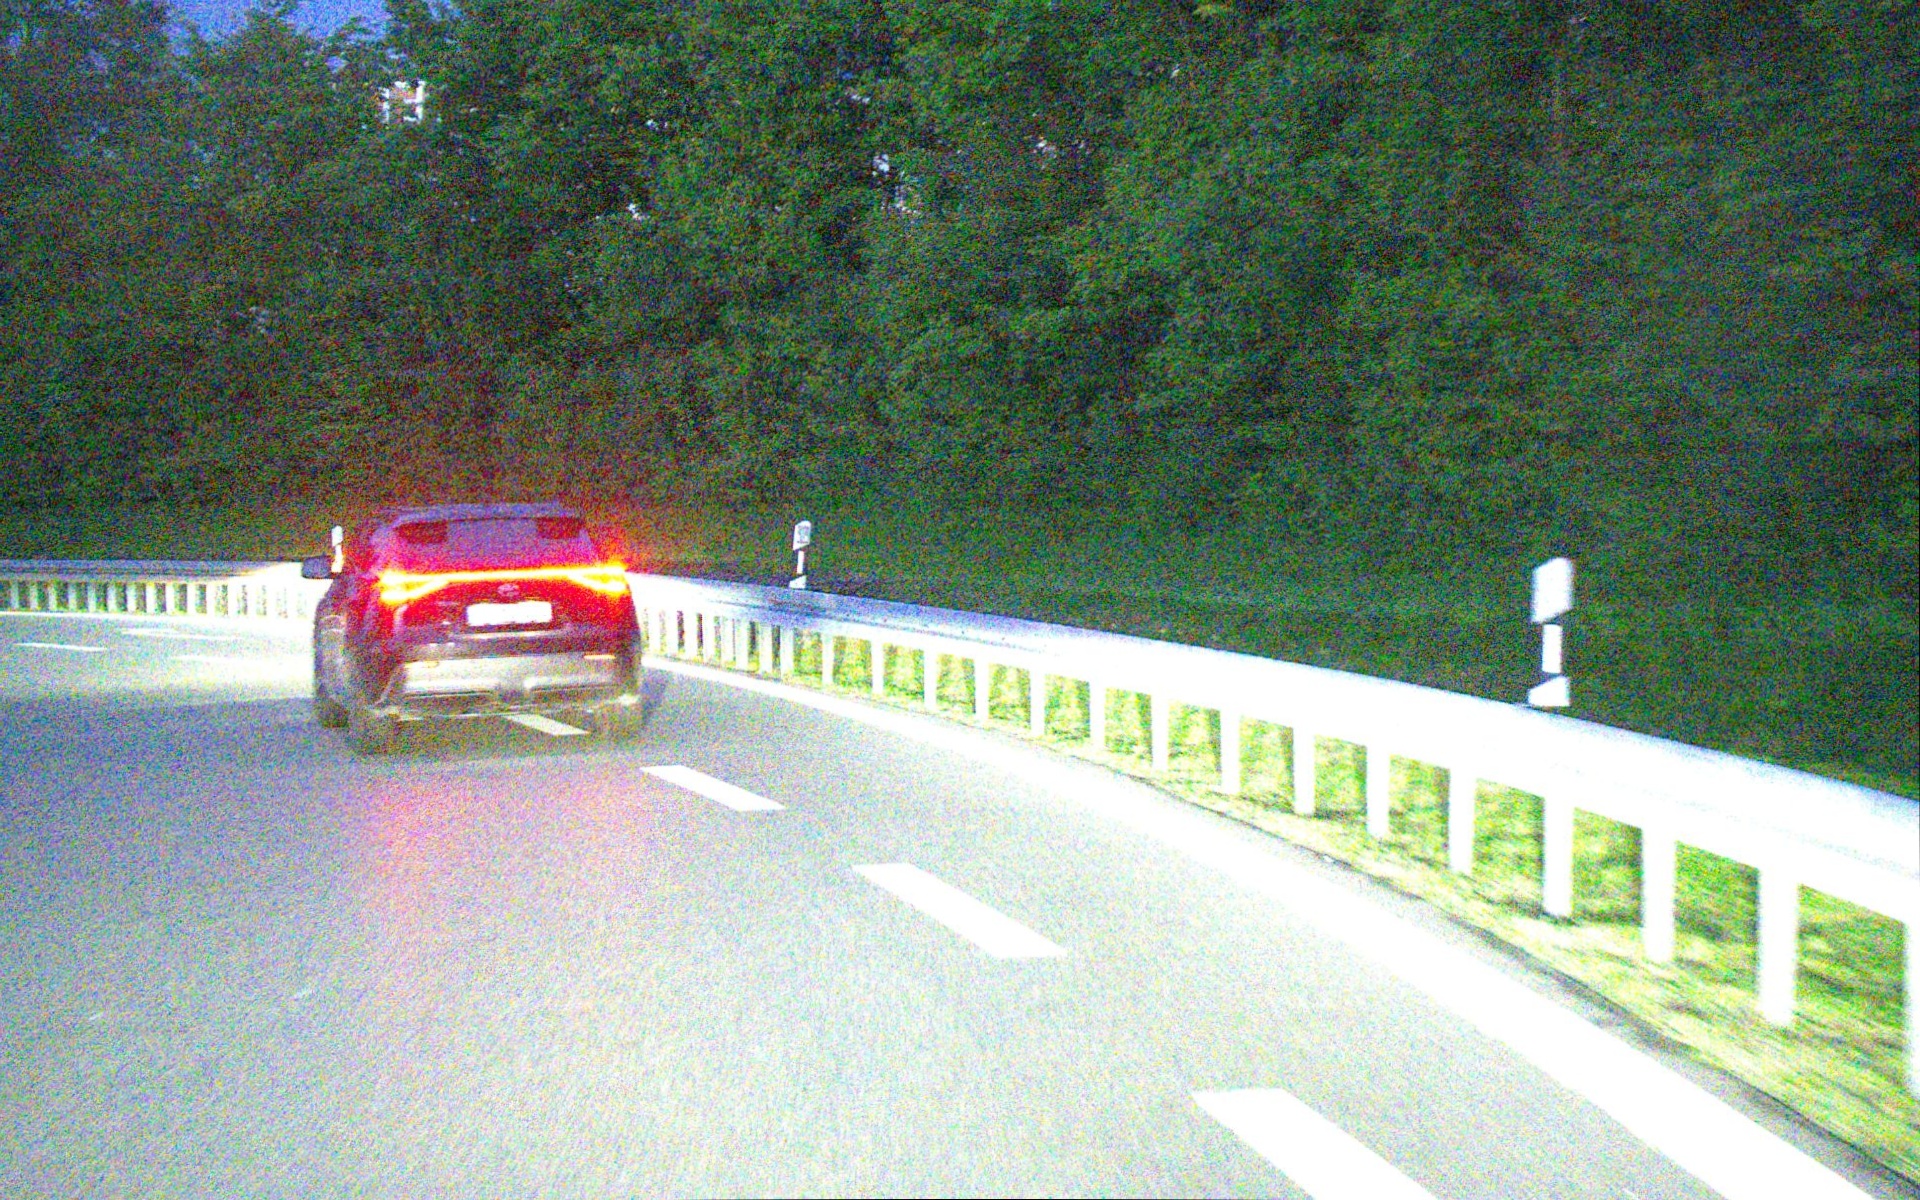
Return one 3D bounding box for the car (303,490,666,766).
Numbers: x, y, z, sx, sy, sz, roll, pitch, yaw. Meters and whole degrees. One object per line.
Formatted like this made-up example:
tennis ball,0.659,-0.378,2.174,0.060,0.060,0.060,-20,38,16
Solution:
car,-3.356,0.112,23.565,1.993,1.653,4.316,-2,2,-14
